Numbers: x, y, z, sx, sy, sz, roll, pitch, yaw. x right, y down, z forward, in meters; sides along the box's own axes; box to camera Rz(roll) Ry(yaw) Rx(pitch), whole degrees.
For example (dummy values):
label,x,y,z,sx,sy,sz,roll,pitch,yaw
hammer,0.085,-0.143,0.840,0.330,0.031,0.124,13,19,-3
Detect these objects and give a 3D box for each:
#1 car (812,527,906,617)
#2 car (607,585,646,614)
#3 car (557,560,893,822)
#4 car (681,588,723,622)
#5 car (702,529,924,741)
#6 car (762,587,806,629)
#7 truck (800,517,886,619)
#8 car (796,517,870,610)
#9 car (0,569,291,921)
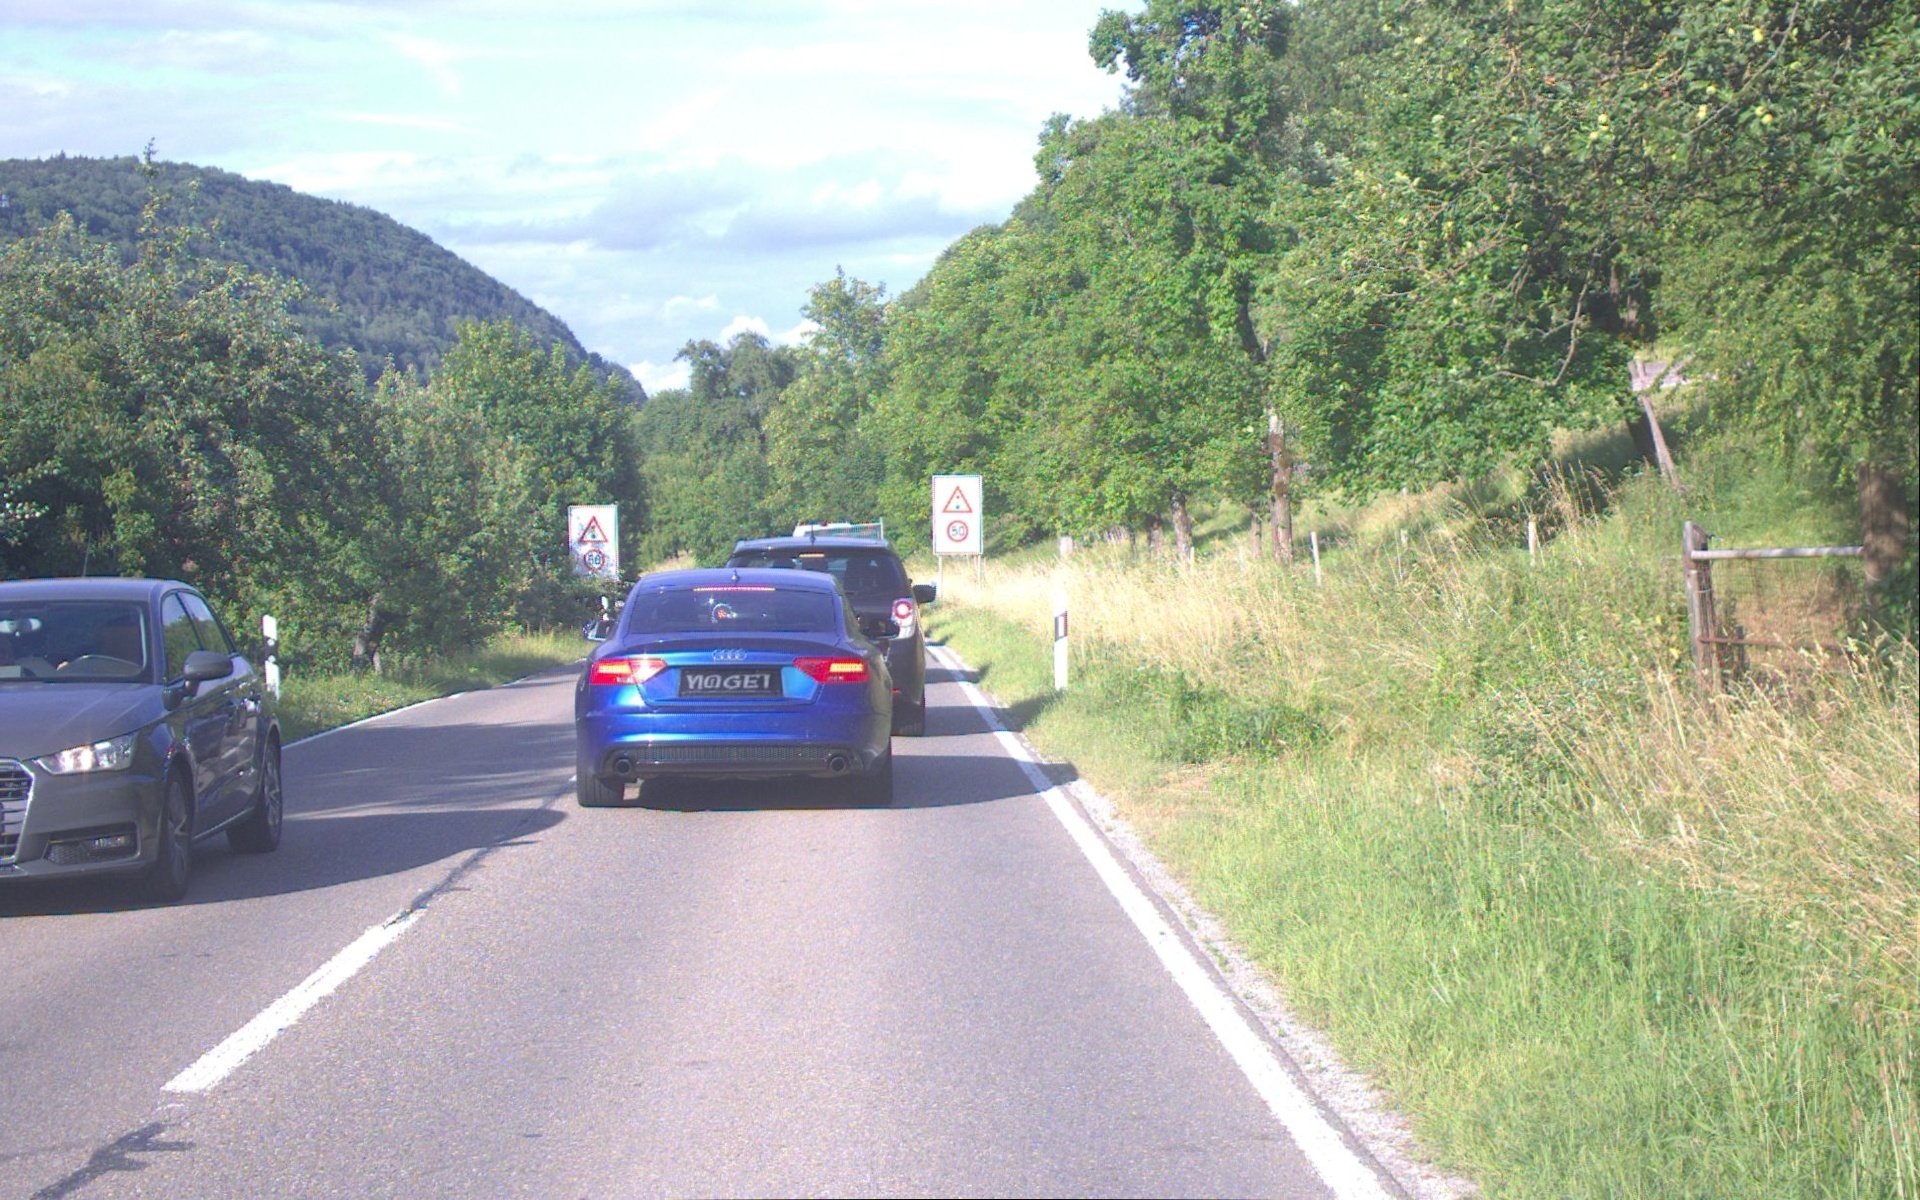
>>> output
label,x,y,z,sx,sy,sz,roll,pitch,yaw
car,-1.894,-0.541,64.316,1.692,1.618,3.789,0,1,-2
car,-18.065,-0.015,186.173,1.558,1.491,3.779,1,1,-14
car,-1.328,0.469,20.736,1.805,1.377,4.215,-1,1,-2
car,-11.879,0.207,158.089,1.558,1.491,3.779,1,1,-10
car,-1.198,0.240,28.341,1.692,1.618,3.789,0,1,-2
car,-6.642,0.300,129.479,1.558,1.491,3.779,1,1,-4
truck,-2.824,-0.770,81.907,1.949,2.337,5.094,1,1,-3
car,-3.436,-0.984,92.471,1.792,2.445,3.920,1,1,-5
car,-4.232,0.590,15.887,1.627,1.410,3.789,-2,1,-2
